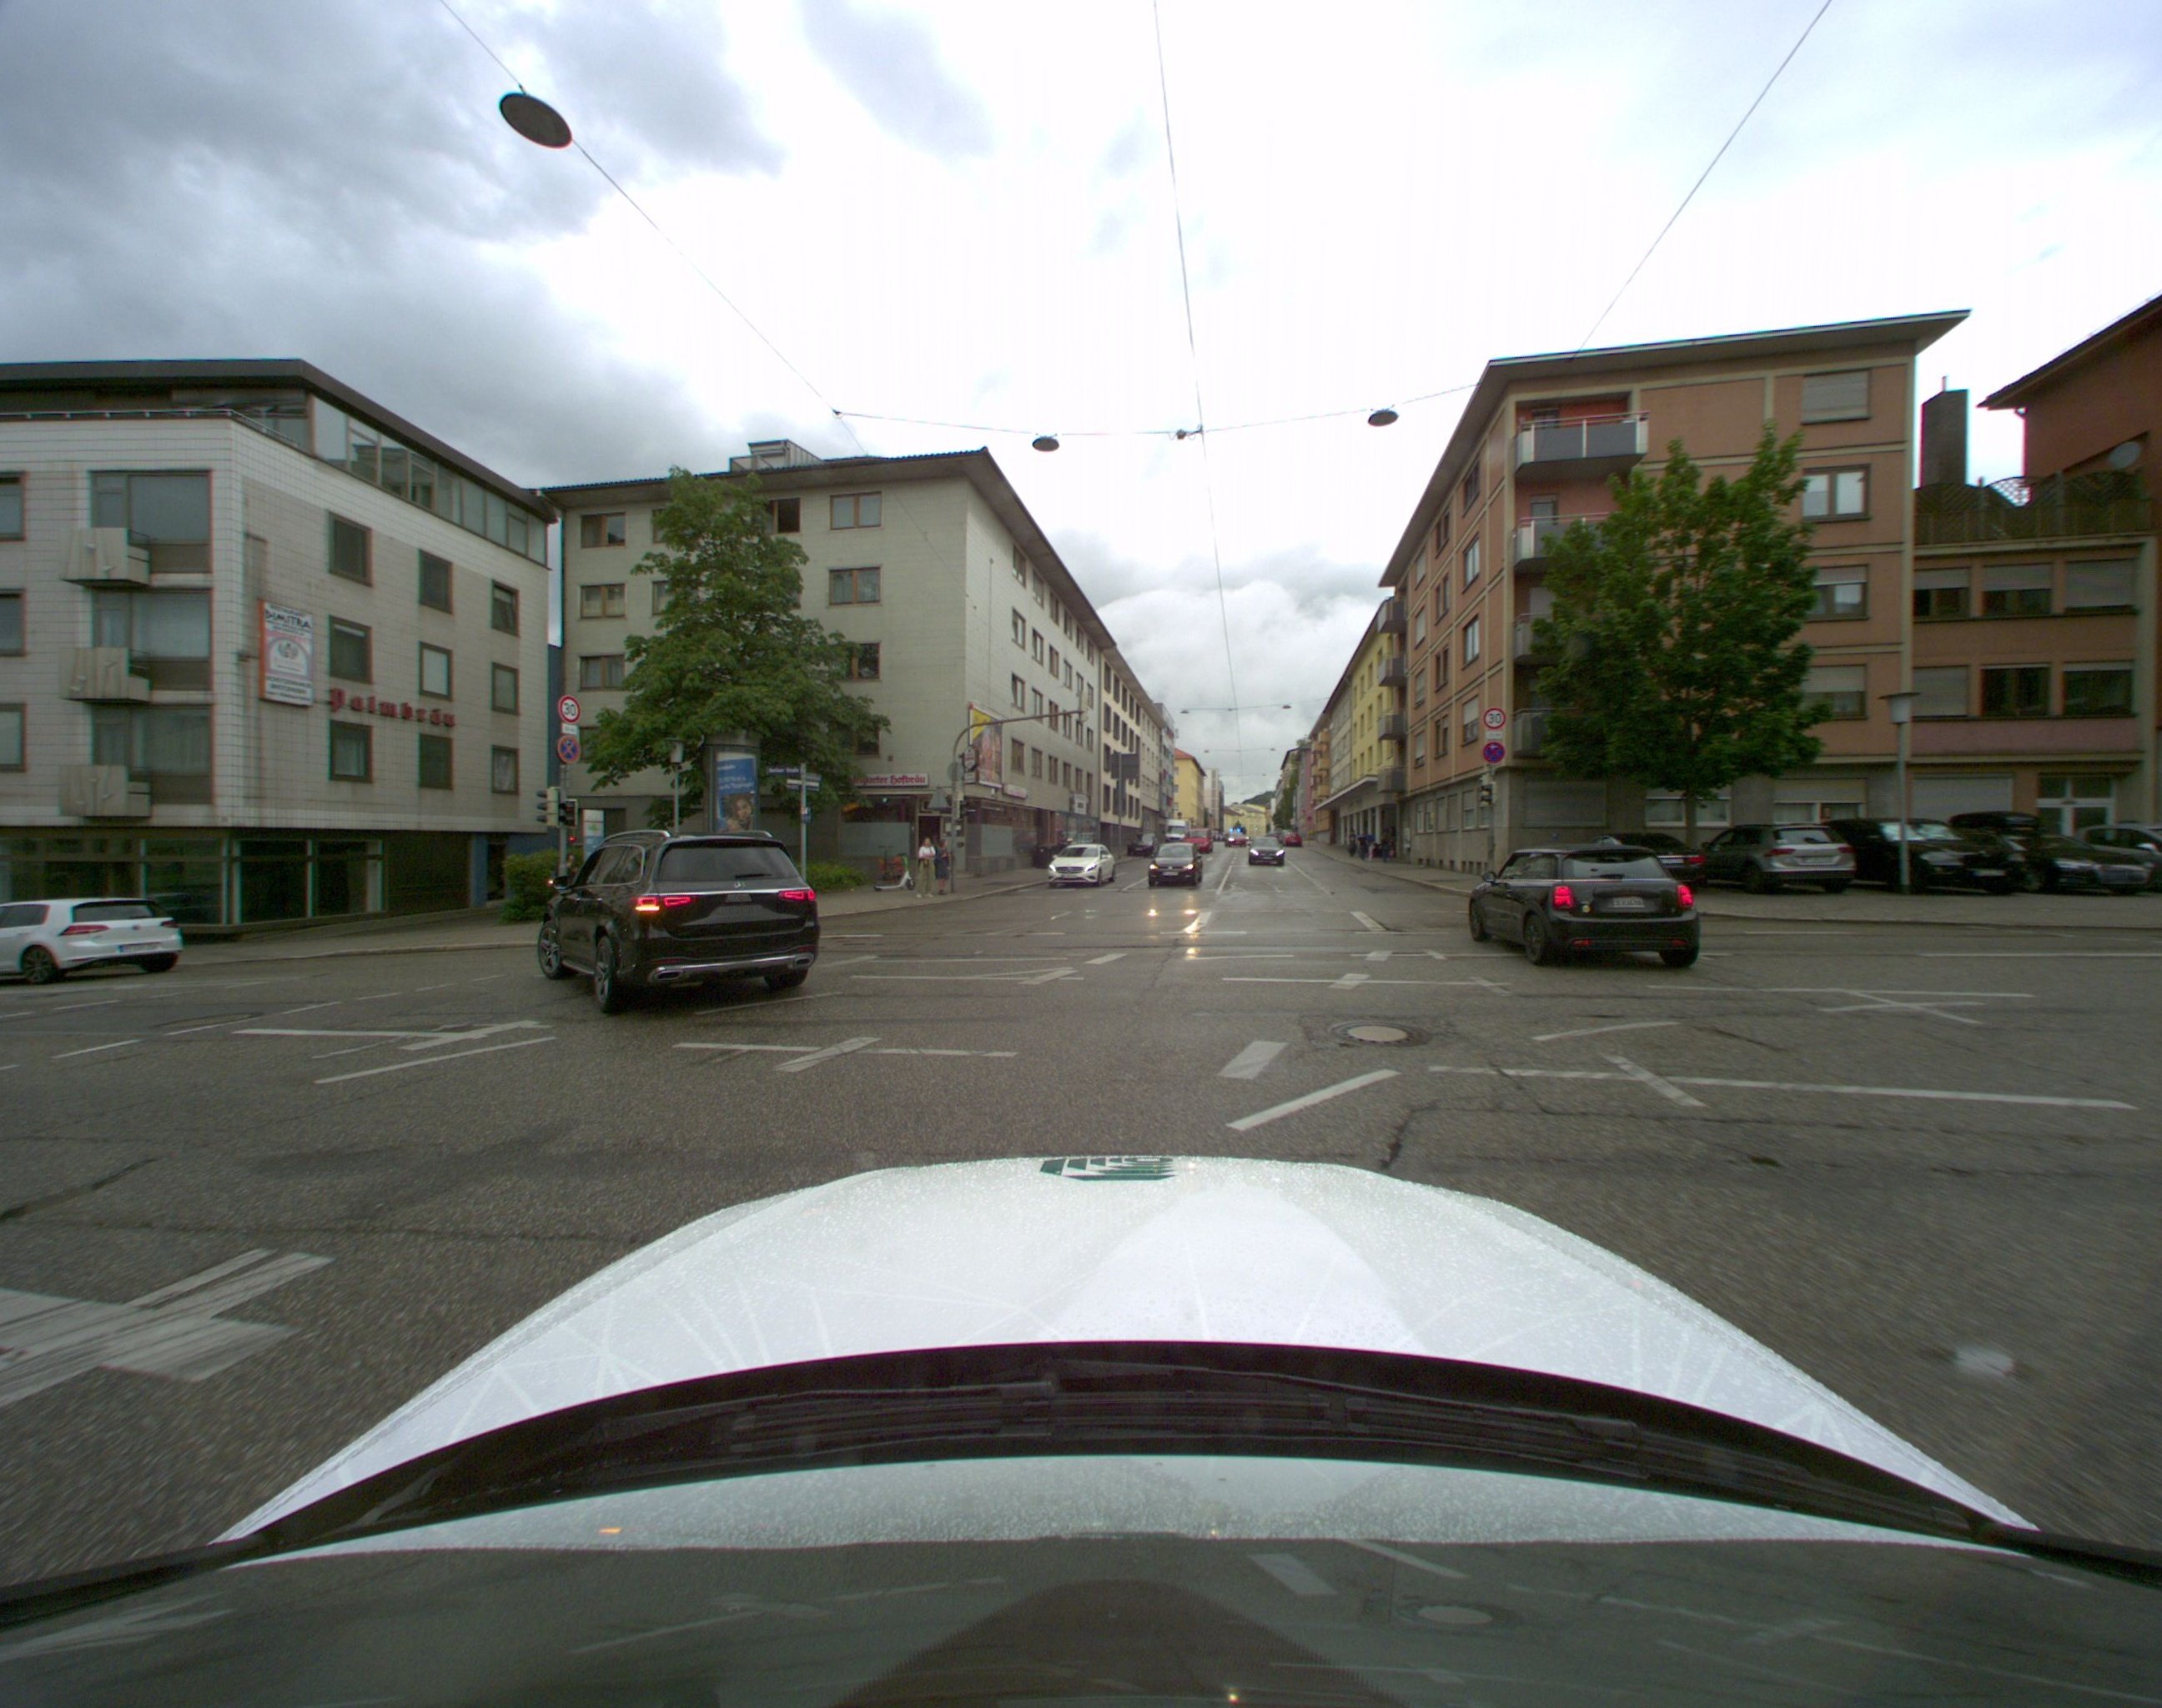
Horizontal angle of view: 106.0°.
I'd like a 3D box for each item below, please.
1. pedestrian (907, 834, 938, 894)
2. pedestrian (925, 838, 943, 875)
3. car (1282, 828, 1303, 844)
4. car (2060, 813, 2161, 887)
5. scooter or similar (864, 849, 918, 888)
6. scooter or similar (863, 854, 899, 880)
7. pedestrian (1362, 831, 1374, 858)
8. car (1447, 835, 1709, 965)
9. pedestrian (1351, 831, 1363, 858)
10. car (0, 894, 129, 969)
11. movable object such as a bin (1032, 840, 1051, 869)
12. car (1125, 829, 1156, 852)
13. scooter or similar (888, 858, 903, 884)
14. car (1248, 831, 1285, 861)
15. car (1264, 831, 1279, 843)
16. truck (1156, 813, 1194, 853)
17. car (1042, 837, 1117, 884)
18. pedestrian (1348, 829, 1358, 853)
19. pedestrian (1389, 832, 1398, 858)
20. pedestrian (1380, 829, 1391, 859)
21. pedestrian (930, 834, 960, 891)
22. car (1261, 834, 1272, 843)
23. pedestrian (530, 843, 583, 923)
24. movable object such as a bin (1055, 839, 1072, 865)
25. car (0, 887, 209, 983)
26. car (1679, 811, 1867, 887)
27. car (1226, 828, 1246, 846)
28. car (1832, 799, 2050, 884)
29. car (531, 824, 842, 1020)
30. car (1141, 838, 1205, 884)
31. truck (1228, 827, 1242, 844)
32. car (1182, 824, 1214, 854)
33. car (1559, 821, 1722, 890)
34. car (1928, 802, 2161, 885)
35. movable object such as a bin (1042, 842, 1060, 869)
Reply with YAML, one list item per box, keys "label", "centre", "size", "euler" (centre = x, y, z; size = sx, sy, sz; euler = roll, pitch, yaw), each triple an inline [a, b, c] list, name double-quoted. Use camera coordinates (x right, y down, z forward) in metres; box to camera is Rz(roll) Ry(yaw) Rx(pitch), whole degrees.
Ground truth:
- label: "pedestrian"
  centre: [-4.561, 0.267, 23.416]
  size: [0.711, 1.646, 0.753]
  euler: [0, 3, -25]
- label: "pedestrian"
  centre: [-5.668, 0.095, 31.373]
  size: [0.516, 1.400, 0.580]
  euler: [1, -1, 8]
- label: "car"
  centre: [22.323, -1.864, 86.120]
  size: [2.001, 1.562, 5.174]
  euler: [1, 0, 14]
- label: "car"
  centre: [24.218, -0.066, 17.866]
  size: [1.655, 1.582, 4.019]
  euler: [1, 0, 19]
- label: "scooter or similar"
  centre: [-5.856, 0.452, 25.139]
  size: [1.561, 1.190, 0.498]
  euler: [1, -1, -18]
- label: "scooter or similar"
  centre: [-6.677, 0.433, 27.191]
  size: [0.553, 0.843, 1.448]
  euler: [2, -1, -42]
- label: "pedestrian"
  centre: [16.447, -0.560, 46.667]
  size: [0.516, 1.518, 0.571]
  euler: [1, 4, 11]
- label: "car"
  centre: [6.365, 0.472, 10.991]
  size: [1.650, 1.420, 4.085]
  euler: [-1, 1, 10]
- label: "pedestrian"
  centre: [15.878, -0.545, 46.859]
  size: [0.516, 1.538, 0.571]
  euler: [1, 4, 11]
- label: "car"
  centre: [-24.547, 1.813, 18.271]
  size: [4.345, 1.391, 1.772]
  euler: [-4, 3, 3]
- label: "movable object such as a bin"
  centre: [-1.841, 0.042, 37.959]
  size: [0.693, 1.315, 0.785]
  euler: [1, -1, 10]
- label: "car"
  centre: [4.400, -0.935, 59.752]
  size: [1.713, 1.603, 4.012]
  euler: [-1, 0, 11]
- label: "scooter or similar"
  centre: [-6.159, 0.549, 27.070]
  size: [0.458, 0.843, 1.317]
  euler: [1, -1, -11]
- label: "car"
  centre: [9.835, -0.406, 43.373]
  size: [1.832, 1.489, 4.013]
  euler: [-1, 0, 12]
- label: "car"
  centre: [27.549, -2.400, 117.688]
  size: [2.001, 1.562, 4.015]
  euler: [1, 0, 14]
- label: "truck"
  centre: [9.759, -2.093, 83.787]
  size: [2.788, 3.832, 8.173]
  euler: [1, 0, 13]
- label: "car"
  centre: [0.023, 0.185, 29.012]
  size: [1.832, 1.512, 4.013]
  euler: [-2, 0, 12]
- label: "pedestrian"
  centre: [18.038, -0.842, 54.069]
  size: [0.516, 1.555, 0.571]
  euler: [1, 4, 11]
- label: "pedestrian"
  centre: [16.910, -0.493, 44.033]
  size: [0.361, 1.398, 0.371]
  euler: [1, 4, 11]
- label: "pedestrian"
  centre: [16.481, -0.548, 44.103]
  size: [0.476, 1.565, 0.560]
  euler: [1, 4, 11]
- label: "pedestrian"
  centre: [-4.043, 0.235, 24.155]
  size: [0.711, 1.646, 0.753]
  euler: [0, 3, -25]
- label: "car"
  centre: [34.457, -2.935, 151.246]
  size: [2.001, 1.562, 4.015]
  euler: [1, 0, 14]
- label: "pedestrian"
  centre: [-12.645, 0.674, 19.631]
  size: [0.906, 1.817, 0.760]
  euler: [1, 3, 39]
- label: "movable object such as a bin"
  centre: [-0.908, -0.114, 42.526]
  size: [0.693, 1.315, 0.785]
  euler: [1, -1, 10]
- label: "car"
  centre: [-19.029, 1.508, 14.857]
  size: [4.345, 1.461, 1.838]
  euler: [-4, 0, 3]
- label: "car"
  centre: [16.740, -0.117, 20.004]
  size: [1.972, 1.660, 4.016]
  euler: [-1, 0, 15]
- label: "car"
  centre: [15.461, -1.697, 81.294]
  size: [1.831, 1.674, 4.014]
  euler: [-1, 0, 12]
- label: "car"
  centre: [19.621, -0.254, 18.870]
  size: [1.969, 1.719, 4.022]
  euler: [-2, 0, 22]
- label: "car"
  centre: [-4.890, 0.619, 9.681]
  size: [2.039, 1.739, 4.690]
  euler: [-2, 0, -42]
- label: "car"
  centre: [3.334, 0.211, 28.910]
  size: [1.832, 1.489, 4.013]
  euler: [-2, 0, 12]
- label: "truck"
  centre: [36.938, -4.442, 195.348]
  size: [2.788, 3.832, 8.173]
  euler: [1, 0, 13]
- label: "car"
  centre: [9.139, -1.118, 63.210]
  size: [2.051, 2.241, 4.636]
  euler: [-1, 0, 13]
- label: "car"
  centre: [14.249, 0.022, 21.103]
  size: [1.831, 1.554, 4.813]
  euler: [-1, 0, 13]
- label: "car"
  centre: [22.025, -0.245, 18.664]
  size: [1.781, 1.698, 4.016]
  euler: [1, 1, 14]
- label: "movable object such as a bin"
  centre: [-1.460, 0.075, 39.856]
  size: [0.693, 1.315, 0.785]
  euler: [1, -1, 10]
